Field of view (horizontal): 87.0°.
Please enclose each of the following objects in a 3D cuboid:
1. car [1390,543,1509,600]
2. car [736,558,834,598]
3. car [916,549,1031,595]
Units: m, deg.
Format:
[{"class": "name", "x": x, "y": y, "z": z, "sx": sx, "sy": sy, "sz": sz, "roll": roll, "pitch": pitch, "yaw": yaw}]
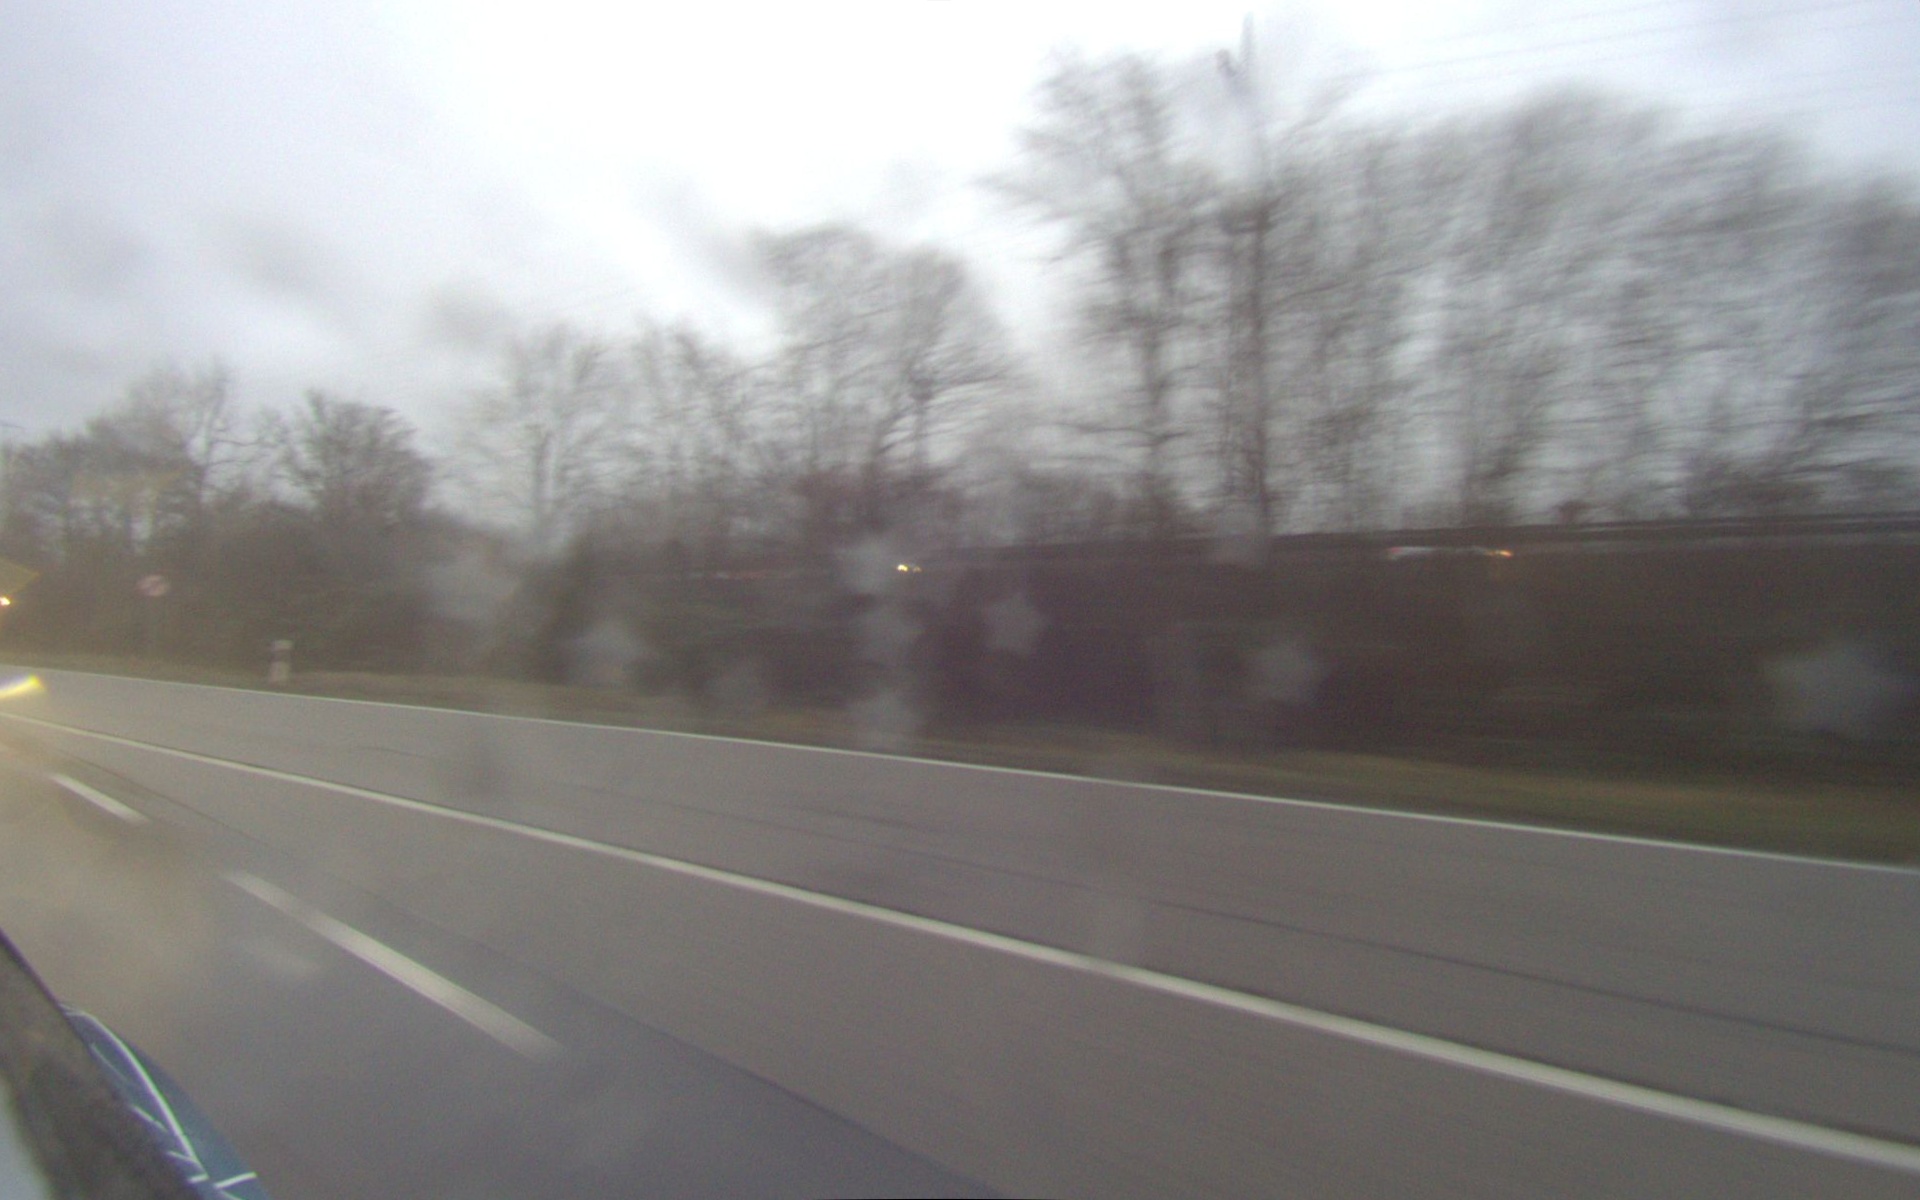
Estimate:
[{"class": "car", "x": 18.792, "y": -1.066, "z": 38.951, "sx": 3.980, "sy": 2.029, "sz": 1.869, "roll": -1, "pitch": 1, "yaw": 27}, {"class": "car", "x": -7.443, "y": -0.913, "z": 42.890, "sx": 3.931, "sy": 1.646, "sz": 1.771, "roll": 0, "pitch": 1, "yaw": 33}, {"class": "car", "x": 0.482, "y": -1.010, "z": 37.649, "sx": 3.931, "sy": 1.646, "sz": 1.771, "roll": 0, "pitch": 1, "yaw": 33}]
